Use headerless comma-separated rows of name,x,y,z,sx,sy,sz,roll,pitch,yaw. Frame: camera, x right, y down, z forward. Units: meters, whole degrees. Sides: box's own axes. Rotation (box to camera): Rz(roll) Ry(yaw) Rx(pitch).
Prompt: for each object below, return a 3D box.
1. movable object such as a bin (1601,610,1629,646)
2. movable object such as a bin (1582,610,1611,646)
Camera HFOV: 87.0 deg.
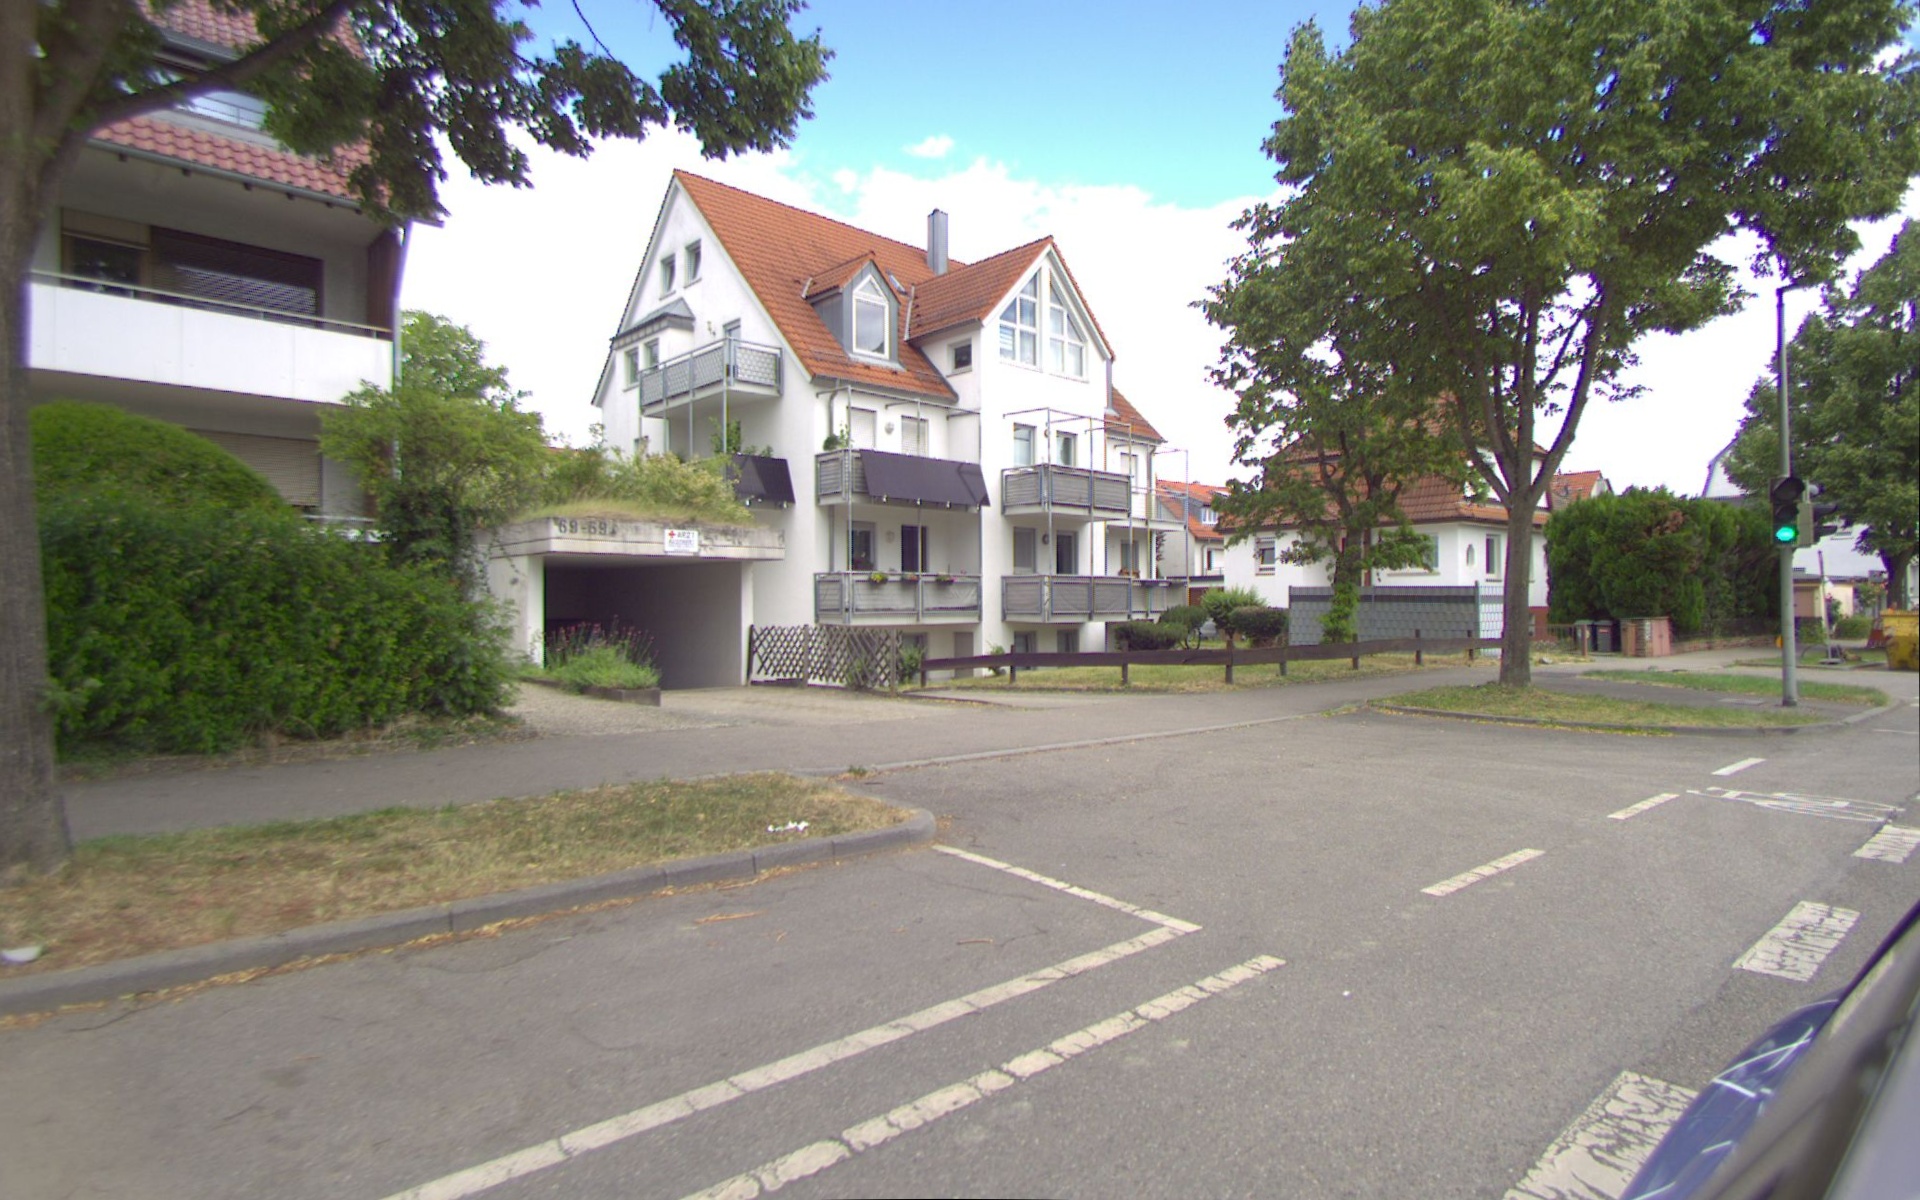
movable object such as a bin,19.111,0.810,29.513,0.508,1.058,0.501,1,0,-27
movable object such as a bin,18.880,0.826,30.000,0.508,1.072,0.542,1,0,-26
